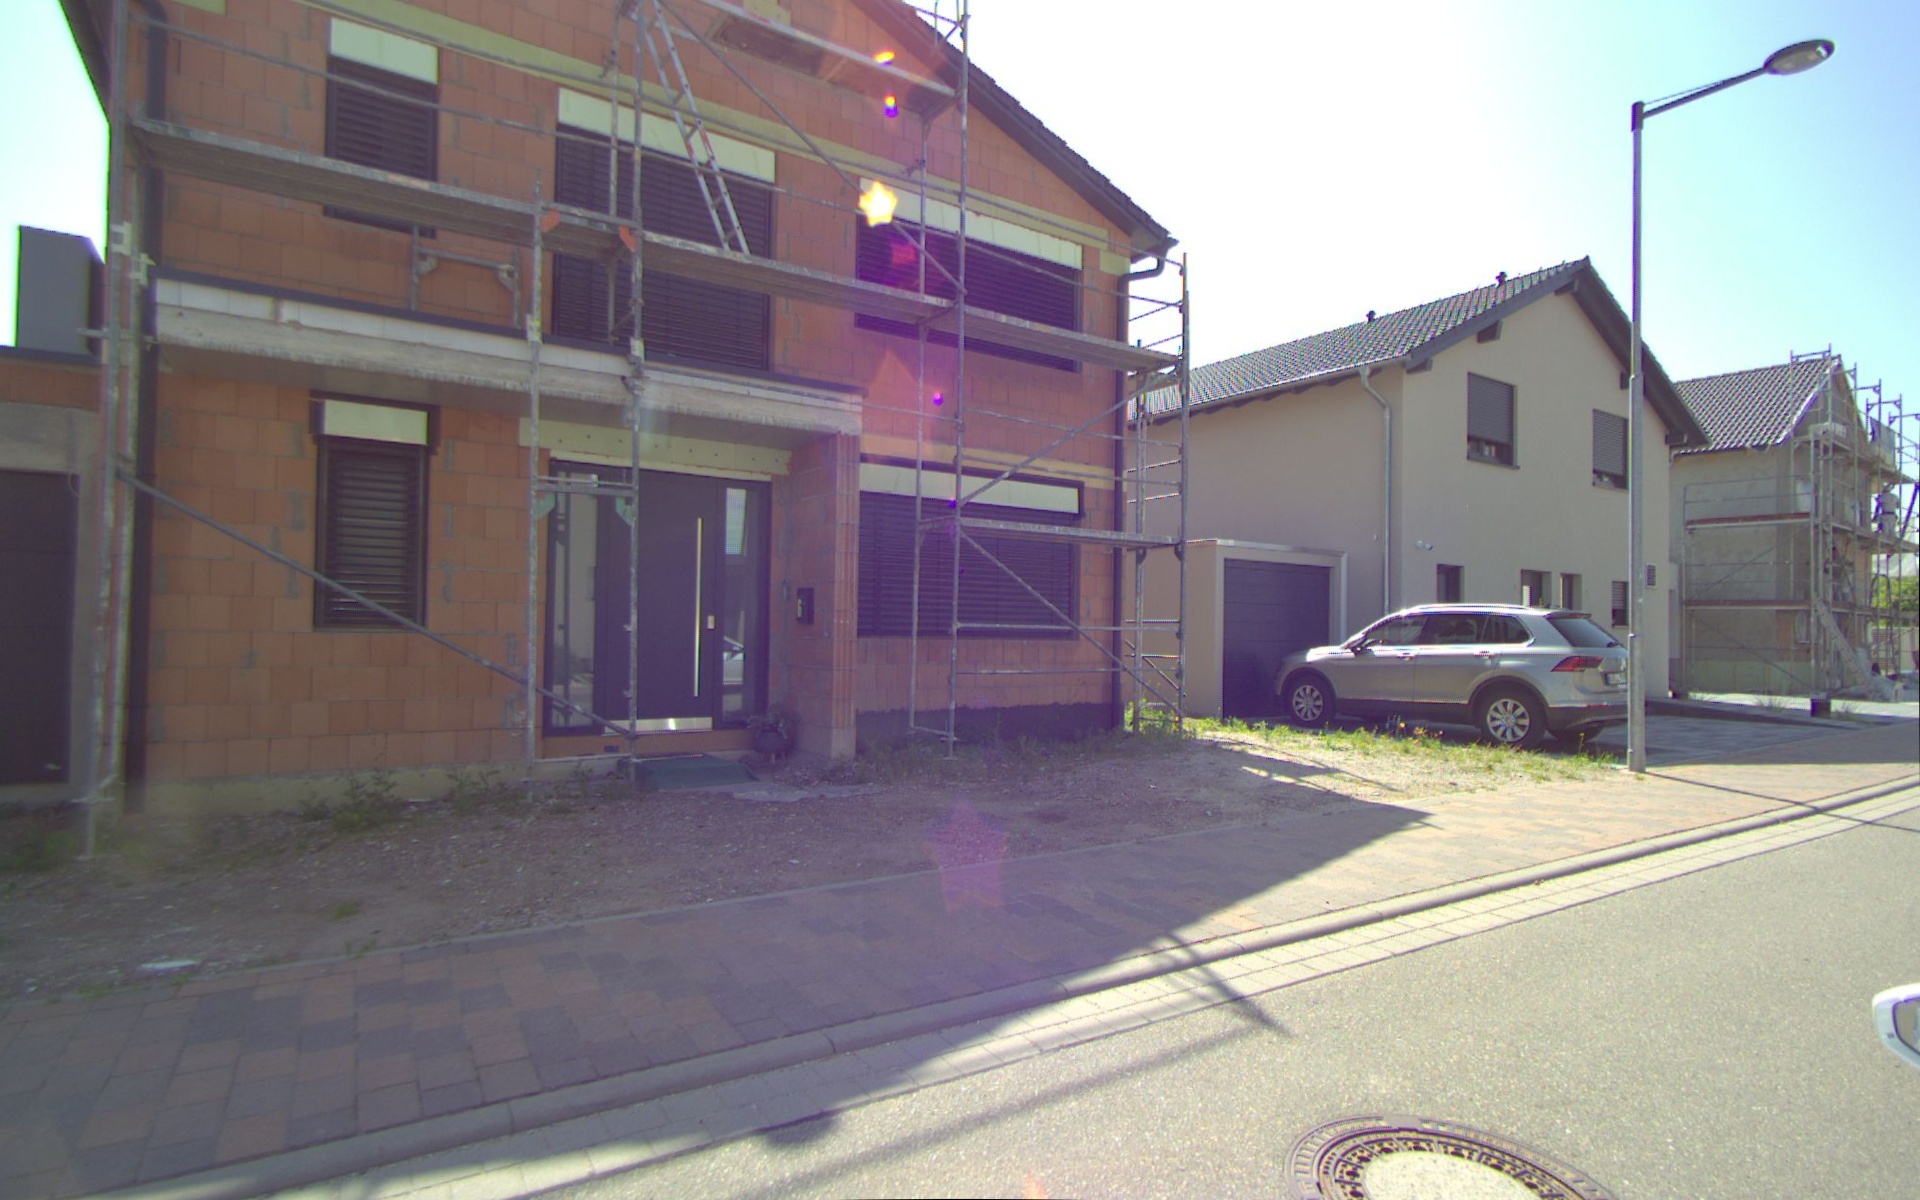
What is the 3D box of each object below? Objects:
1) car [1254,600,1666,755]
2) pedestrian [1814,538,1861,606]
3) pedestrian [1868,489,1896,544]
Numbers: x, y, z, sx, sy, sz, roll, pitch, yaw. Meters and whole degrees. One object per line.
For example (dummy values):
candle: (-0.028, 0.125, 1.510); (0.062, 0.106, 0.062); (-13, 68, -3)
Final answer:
car: (6.232, 0.892, 13.015); (1.981, 1.633, 4.394); (1, -2, -36)
pedestrian: (22.786, -0.716, 26.096); (0.733, 1.701, 0.579); (1, -3, 11)
pedestrian: (27.349, -2.466, 29.791); (0.743, 1.519, 0.556); (5, -4, -44)
